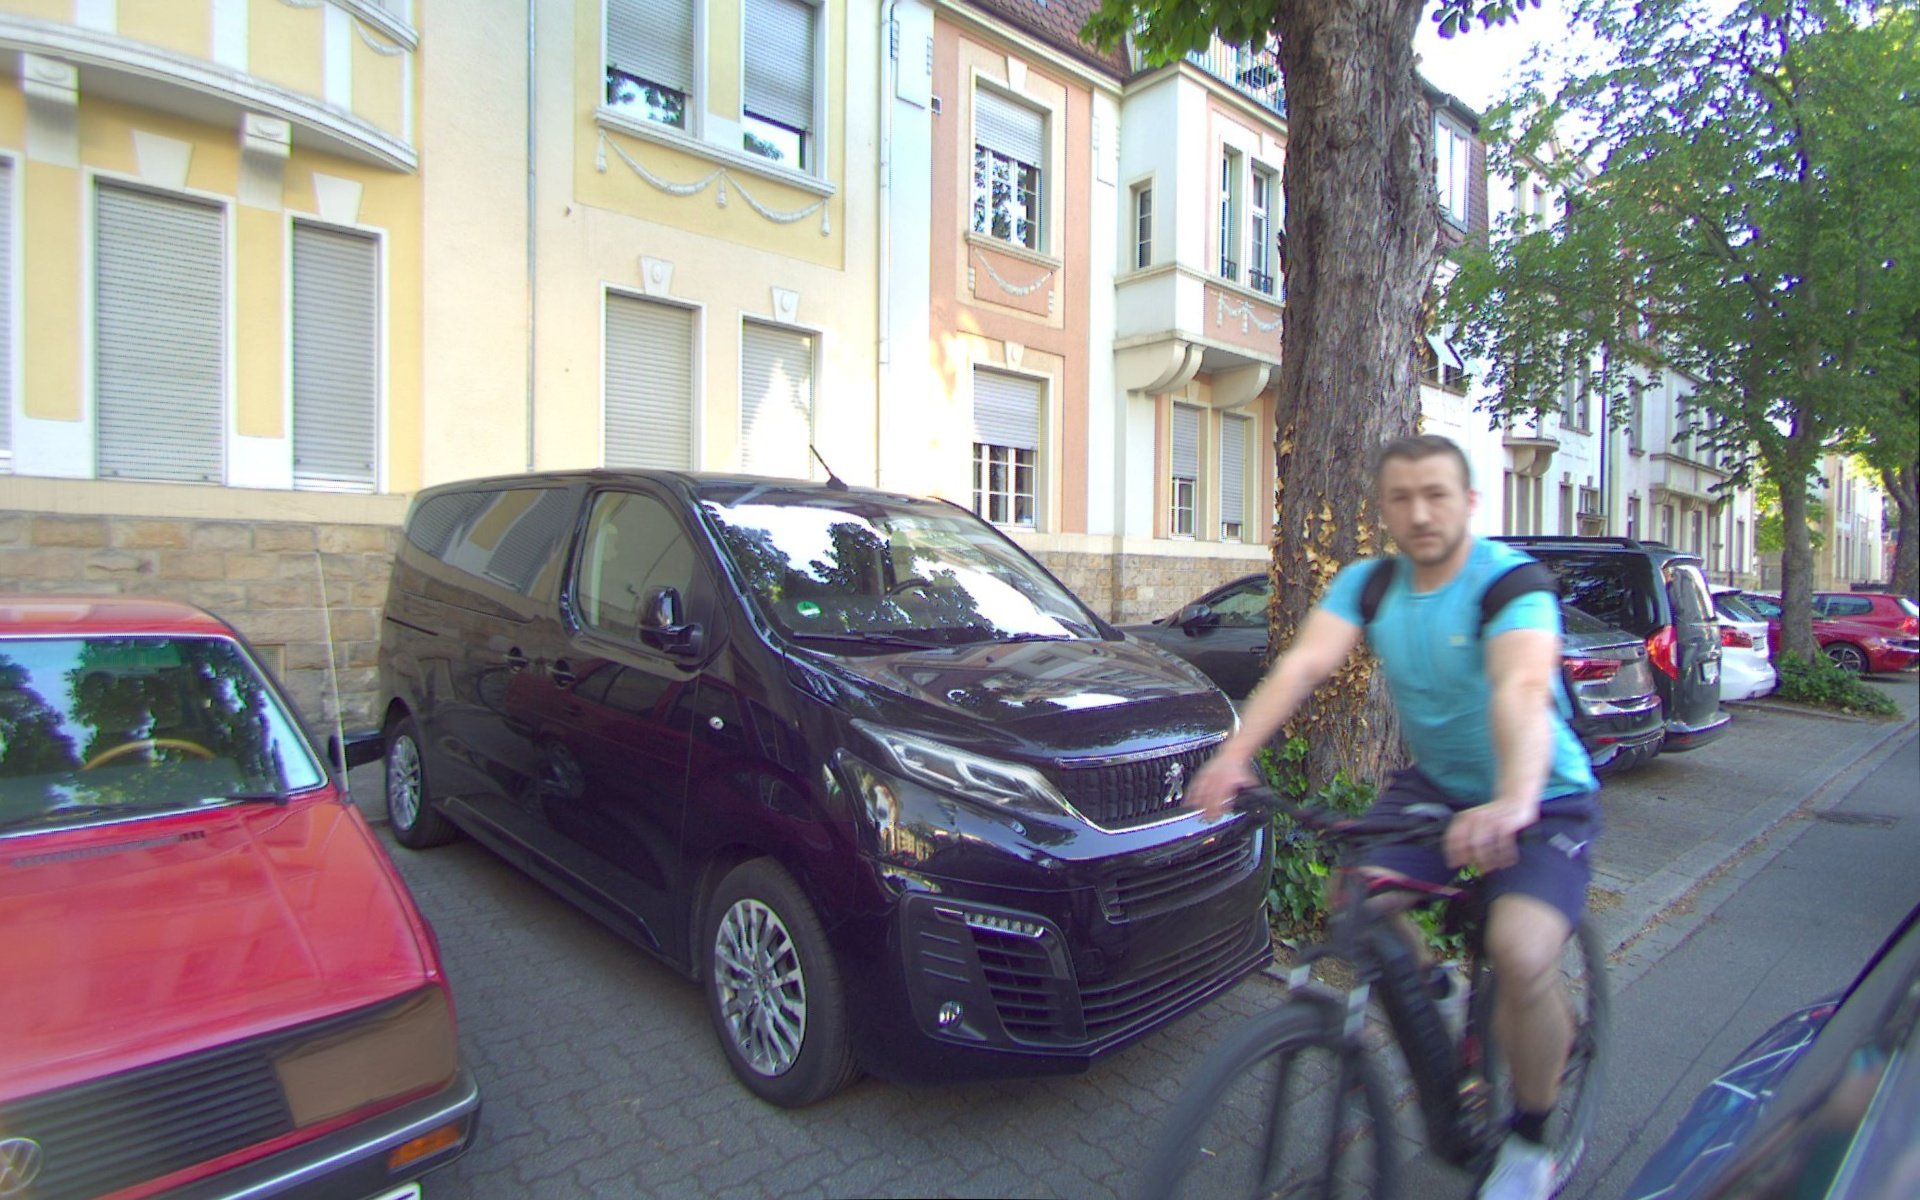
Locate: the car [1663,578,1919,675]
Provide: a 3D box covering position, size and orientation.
[{"bbox_3d":[14.902,0.393,18.024,1.511,1.420,3.621,0,3,-40],"label":"car"}]

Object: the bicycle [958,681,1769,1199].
[{"bbox_3d":[0.982,0.813,2.100,1.978,1.132,0.743,0,0,-41],"label":"bicycle"}]

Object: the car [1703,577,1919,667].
[{"bbox_3d":[16.866,0.373,19.665,1.511,1.482,3.621,0,3,-40],"label":"car"}]

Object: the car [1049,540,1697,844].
[{"bbox_3d":[2.767,0.396,7.534,1.569,1.611,4.165,-1,4,-44],"label":"car"}]

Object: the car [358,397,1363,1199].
[{"bbox_3d":[-0.989,0.349,4.528,1.851,1.846,4.825,-1,4,-44],"label":"car"}]

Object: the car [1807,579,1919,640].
[{"bbox_3d":[25.936,0.256,27.981,1.511,1.584,3.621,0,2,-40],"label":"car"}]

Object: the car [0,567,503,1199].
[{"bbox_3d":[-2.808,0.631,2.972,1.532,1.336,3.917,-1,4,-43],"label":"car"}]

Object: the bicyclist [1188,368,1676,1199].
[{"bbox_3d":[0.995,0.524,2.122,0.816,1.797,0.648,0,0,-41],"label":"bicyclist"}]

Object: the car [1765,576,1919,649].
[{"bbox_3d":[21.625,0.276,24.088,1.511,1.584,3.621,0,2,-40],"label":"car"}]

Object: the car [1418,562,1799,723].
[{"bbox_3d":[7.728,0.388,12.294,1.513,1.569,3.616,-1,3,-45],"label":"car"}]

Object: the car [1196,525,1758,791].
[{"bbox_3d":[4.364,0.280,9.067,1.569,1.849,4.165,-1,4,-44],"label":"car"}]

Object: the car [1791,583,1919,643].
[{"bbox_3d":[24.041,0.337,26.226,1.511,1.420,3.621,0,3,-40],"label":"car"}]
